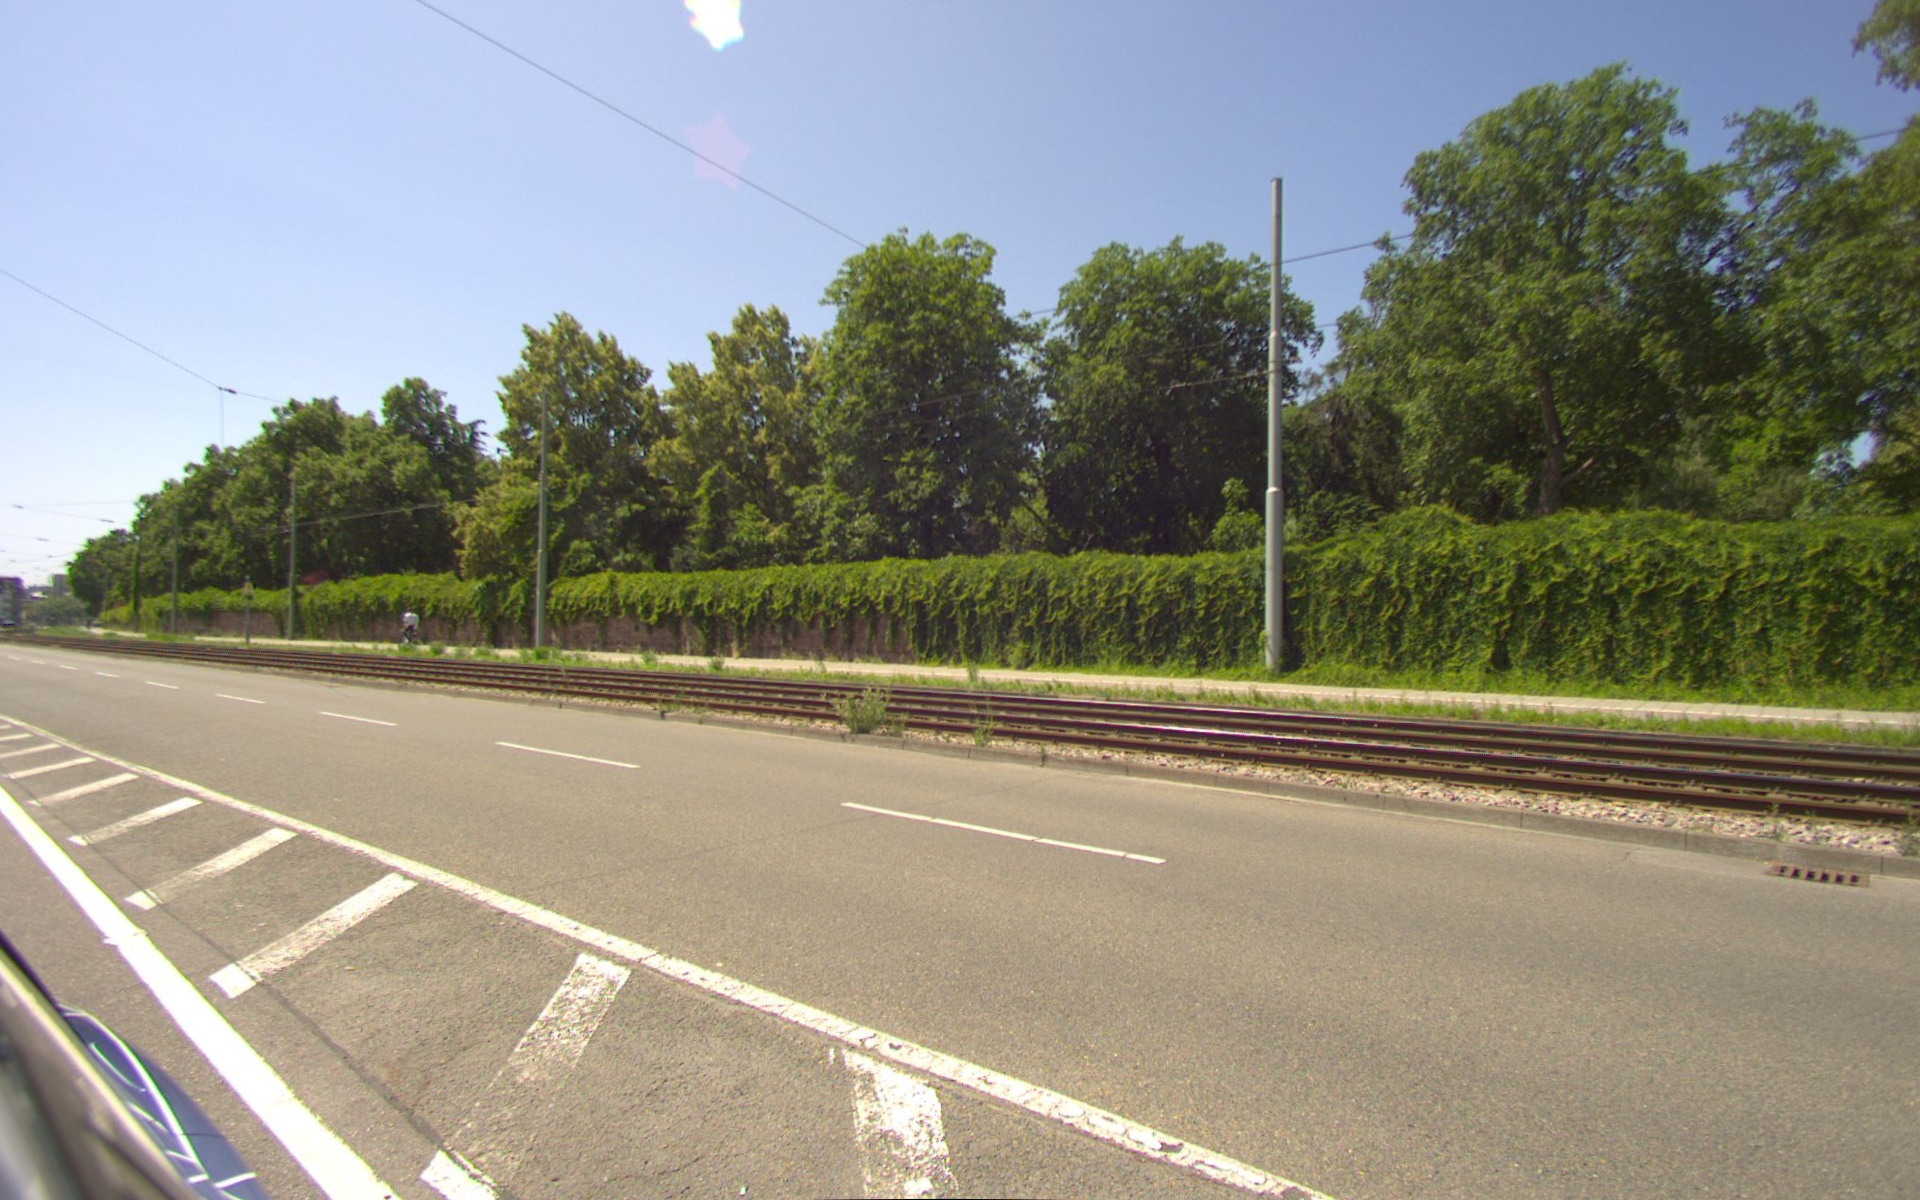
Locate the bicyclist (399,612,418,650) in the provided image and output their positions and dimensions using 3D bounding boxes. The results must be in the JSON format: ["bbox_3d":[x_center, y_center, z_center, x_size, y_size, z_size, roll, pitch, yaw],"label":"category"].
[{"bbox_3d":[-23.547,1.321,43.186,0.768,1.624,0.477,-1,0,41],"label":"bicyclist"}]

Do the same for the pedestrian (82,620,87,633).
[{"bbox_3d":[-110.887,3.331,128.168,0.302,1.677,0.447,-2,-1,41],"label":"pedestrian"}]

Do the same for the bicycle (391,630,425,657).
[{"bbox_3d":[-23.621,1.845,43.276,1.977,1.063,0.610,-1,0,41],"label":"bicycle"}]
